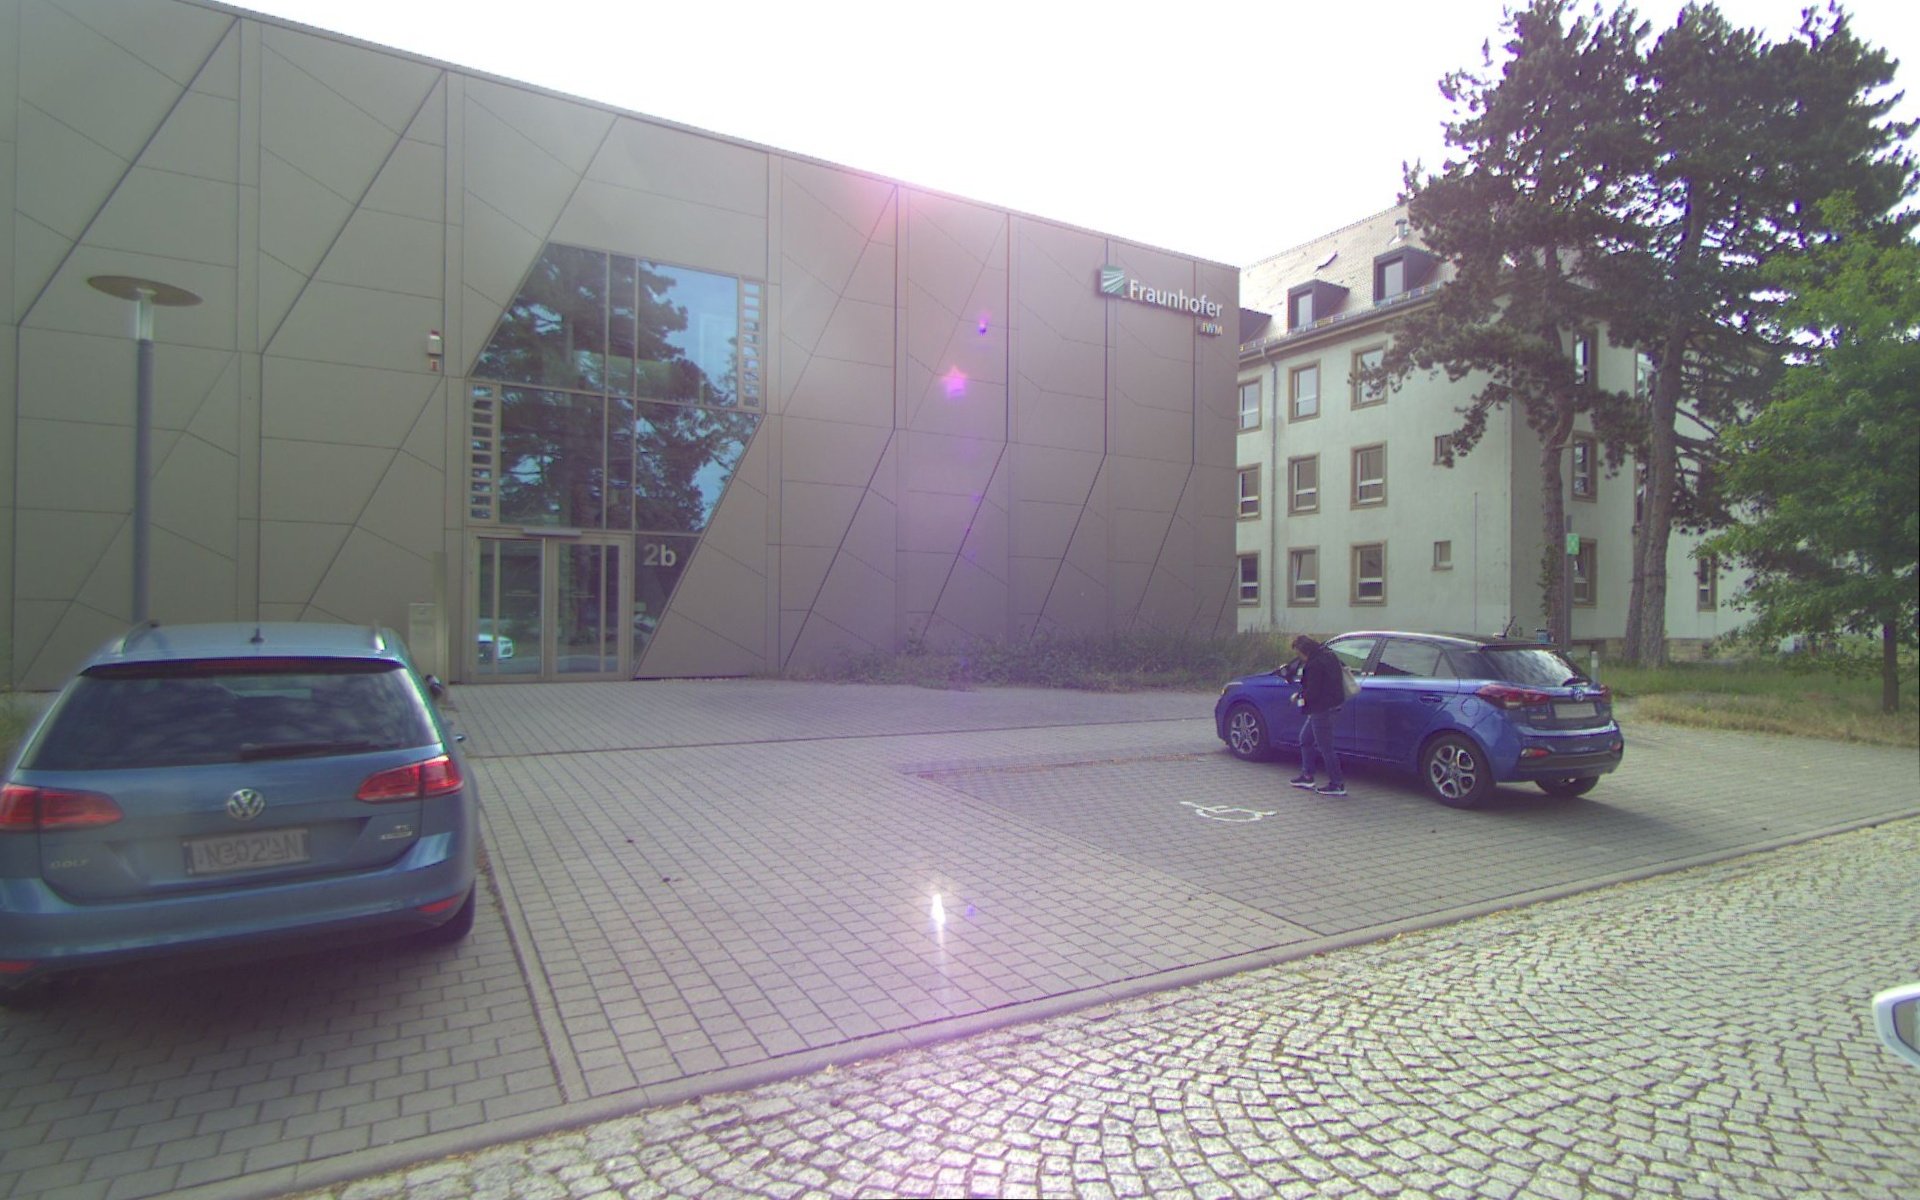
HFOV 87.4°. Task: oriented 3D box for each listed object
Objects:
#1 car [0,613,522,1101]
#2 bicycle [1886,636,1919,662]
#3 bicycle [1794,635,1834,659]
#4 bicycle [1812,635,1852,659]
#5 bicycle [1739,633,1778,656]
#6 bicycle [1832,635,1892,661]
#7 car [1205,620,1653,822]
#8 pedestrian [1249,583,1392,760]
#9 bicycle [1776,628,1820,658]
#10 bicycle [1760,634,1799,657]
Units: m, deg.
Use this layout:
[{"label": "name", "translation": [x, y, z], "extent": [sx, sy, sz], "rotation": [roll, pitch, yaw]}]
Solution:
[{"label": "car", "translation": [-3.641, 0.847, 5.332], "extent": [1.755, 1.448, 4.280], "rotation": [1, 0, -33]}, {"label": "bicycle", "translation": [41.062, 2.114, 43.053], "extent": [0.821, 1.090, 1.849], "rotation": [1, -1, -27]}, {"label": "bicycle", "translation": [40.079, 2.196, 47.123], "extent": [2.246, 1.090, 0.732], "rotation": [1, -1, -30]}, {"label": "bicycle", "translation": [40.458, 2.183, 46.605], "extent": [2.246, 1.090, 0.732], "rotation": [1, -1, -30]}, {"label": "bicycle", "translation": [38.993, 2.182, 49.019], "extent": [2.246, 1.090, 0.732], "rotation": [1, -1, -30]}, {"label": "bicycle", "translation": [40.115, 2.128, 44.678], "extent": [0.729, 1.090, 1.849], "rotation": [1, -1, -27]}, {"label": "car", "translation": [4.431, 1.013, 10.091], "extent": [1.828, 1.498, 3.752], "rotation": [1, 0, -27]}, {"label": "pedestrian", "translation": [3.287, 0.630, 9.227], "extent": [0.806, 1.514, 0.982], "rotation": [1, -1, -20]}, {"label": "bicycle", "translation": [40.021, 2.064, 47.953], "extent": [2.679, 1.404, 0.732], "rotation": [1, -1, -30]}, {"label": "bicycle", "translation": [39.725, 2.209, 48.705], "extent": [2.246, 1.090, 0.732], "rotation": [1, -1, -30]}]
